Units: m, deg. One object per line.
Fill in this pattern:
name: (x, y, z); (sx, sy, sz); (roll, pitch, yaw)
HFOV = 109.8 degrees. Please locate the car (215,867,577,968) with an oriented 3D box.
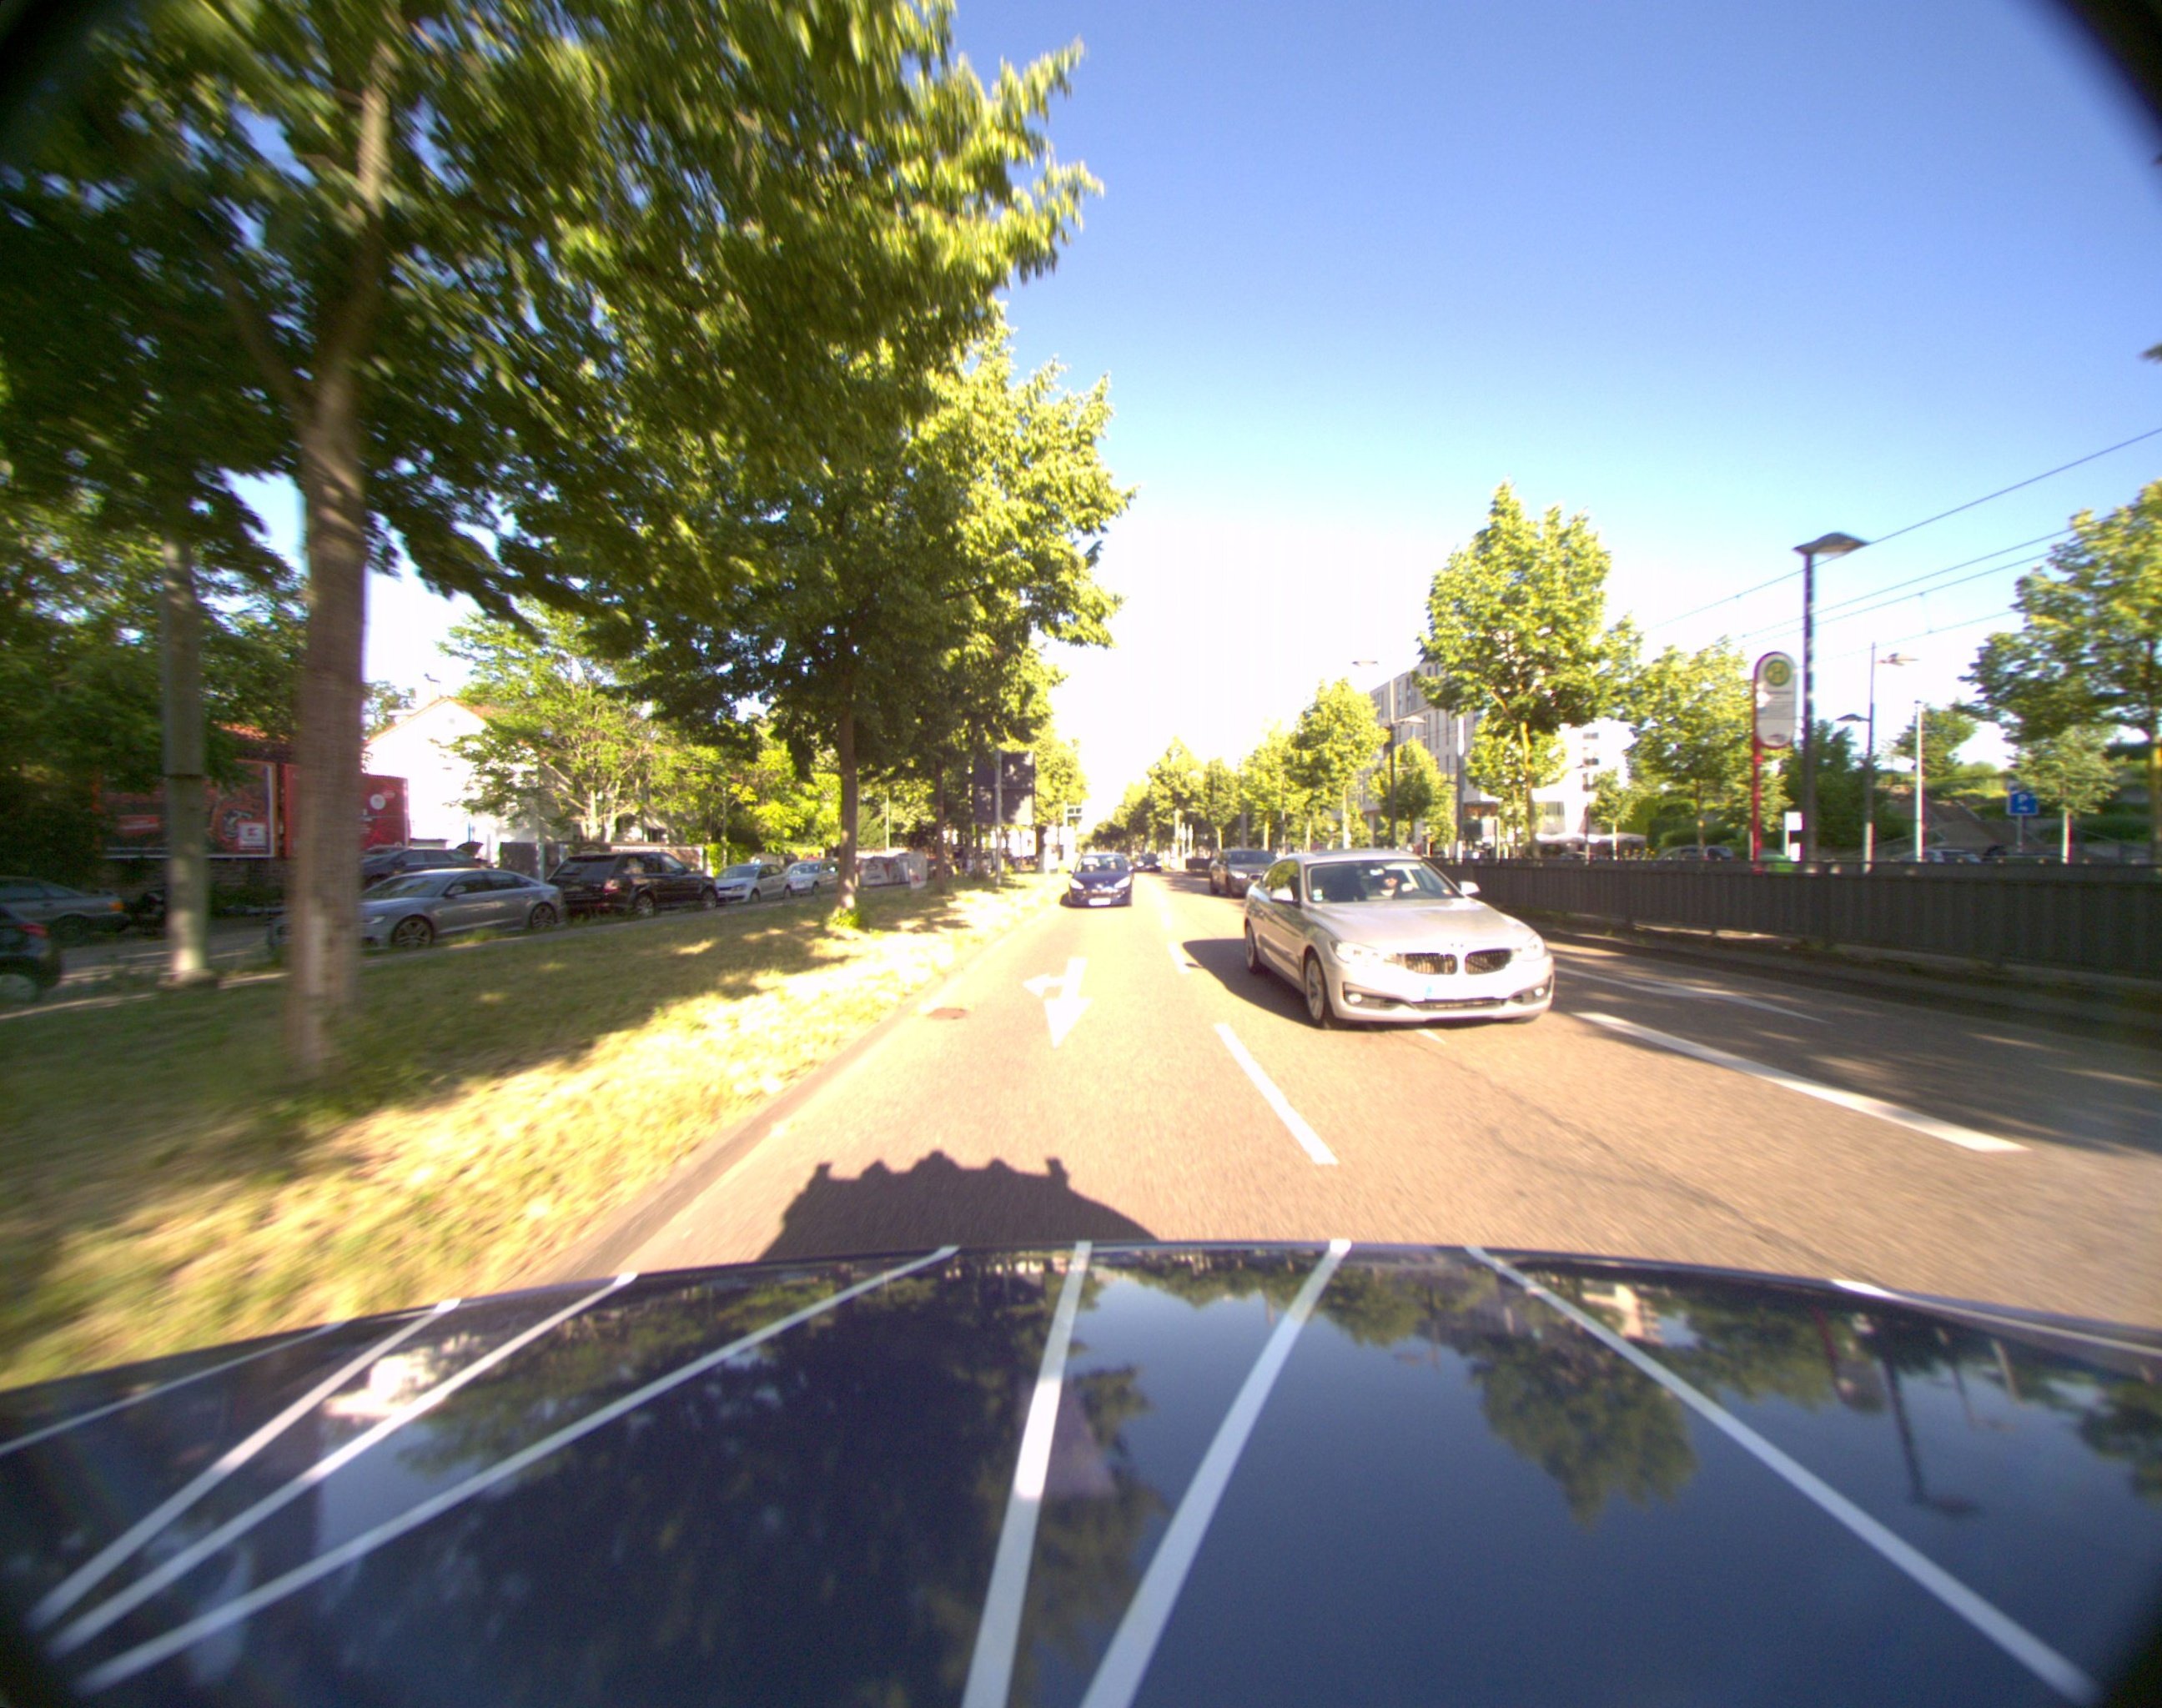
car: (-11.877, 0.996, 13.810); (1.998, 1.355, 4.866); (-1, 1, 2)

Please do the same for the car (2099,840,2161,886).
car: (34.298, 0.272, 22.914); (1.875, 1.347, 3.999); (-2, 1, 1)

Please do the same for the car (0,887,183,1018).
car: (-12.017, 1.067, 6.893); (1.998, 1.242, 4.655); (-1, 1, 5)

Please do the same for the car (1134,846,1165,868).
car: (4.980, 0.181, 55.790); (1.803, 1.518, 4.342); (-2, 1, -1)

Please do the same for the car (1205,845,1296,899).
car: (5.329, 0.509, 24.458); (1.803, 1.518, 4.342); (-2, 1, -1)

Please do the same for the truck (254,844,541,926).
truck: (-20.041, 0.770, 22.971); (2.454, 2.063, 6.581); (-1, 1, 3)

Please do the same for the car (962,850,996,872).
car: (-7.847, 0.483, 58.562); (1.998, 1.576, 4.000); (-1, 1, 1)

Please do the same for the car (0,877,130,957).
car: (-20.626, 1.205, 13.605); (1.795, 1.394, 4.172); (-1, 1, 3)

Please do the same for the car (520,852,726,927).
car: (-11.260, 0.796, 19.181); (1.998, 1.587, 4.656); (-1, 1, 6)

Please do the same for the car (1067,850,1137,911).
car: (0.679, 0.705, 22.456); (1.803, 1.518, 4.605); (-2, 1, 3)

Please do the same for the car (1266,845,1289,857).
car: (24.790, -0.407, 96.095); (1.875, 1.347, 3.999); (-2, 1, 1)

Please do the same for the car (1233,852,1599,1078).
car: (2.877, 0.796, 7.883); (1.803, 1.518, 4.911); (-2, 1, 3)

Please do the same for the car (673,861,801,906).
car: (-11.006, 0.893, 24.648); (1.998, 1.203, 4.115); (-1, 1, 5)

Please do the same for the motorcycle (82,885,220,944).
motorcycle: (-20.302, 1.299, 16.633); (1.744, 1.142, 0.734); (-2, 1, -21)

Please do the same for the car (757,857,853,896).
car: (-10.821, 0.839, 30.194); (1.998, 1.308, 4.546); (-1, 1, 2)

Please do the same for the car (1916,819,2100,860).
car: (33.634, -0.514, 27.770); (1.875, 1.347, 3.999); (-2, 1, 1)

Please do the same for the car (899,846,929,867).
car: (-16.627, 0.222, 75.954); (1.998, 2.002, 4.000); (-1, 1, 1)

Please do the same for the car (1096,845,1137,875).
car: (1.953, 0.307, 42.912); (1.803, 1.518, 4.603); (-2, 1, -3)

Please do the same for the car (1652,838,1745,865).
car: (33.926, -0.154, 41.890); (1.875, 1.347, 3.999); (-2, 1, 1)
